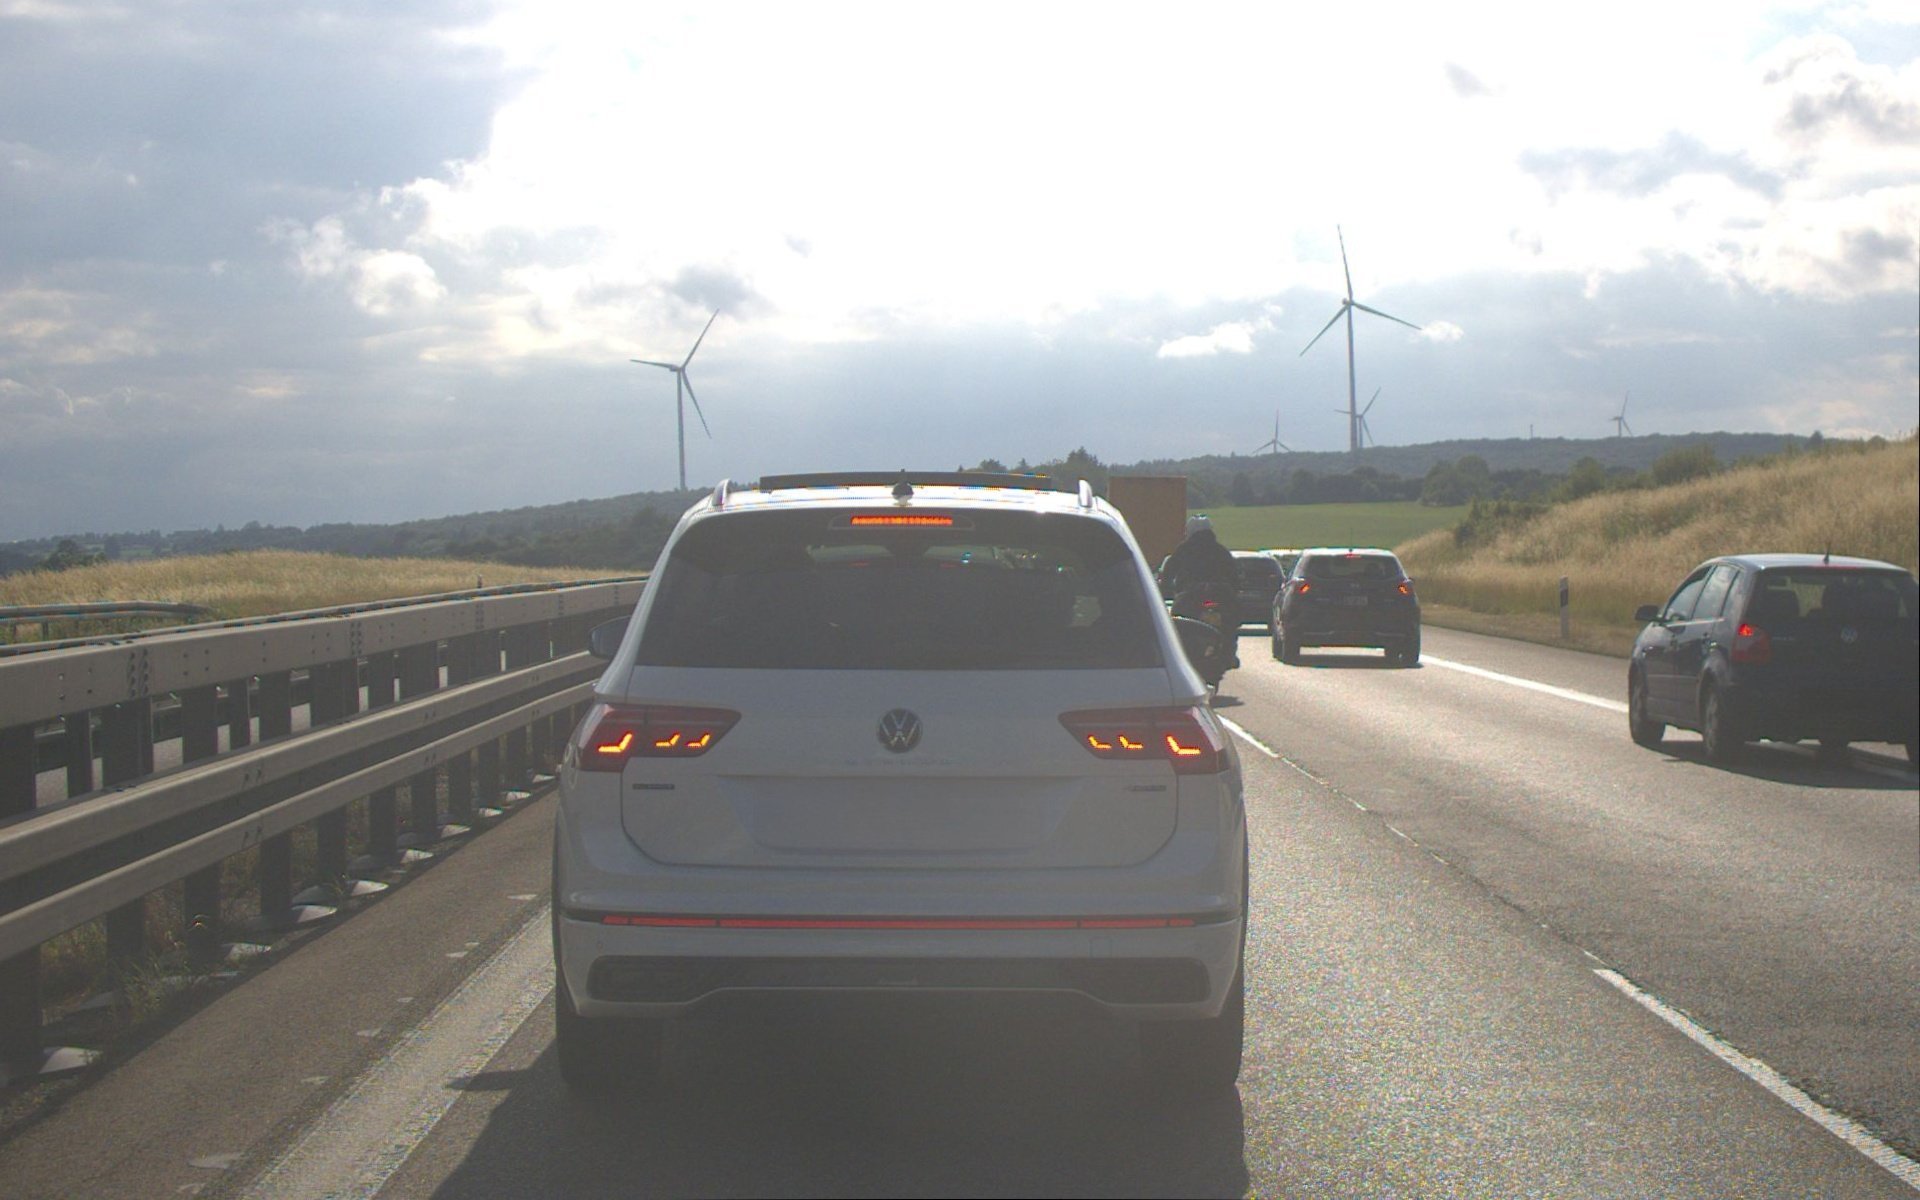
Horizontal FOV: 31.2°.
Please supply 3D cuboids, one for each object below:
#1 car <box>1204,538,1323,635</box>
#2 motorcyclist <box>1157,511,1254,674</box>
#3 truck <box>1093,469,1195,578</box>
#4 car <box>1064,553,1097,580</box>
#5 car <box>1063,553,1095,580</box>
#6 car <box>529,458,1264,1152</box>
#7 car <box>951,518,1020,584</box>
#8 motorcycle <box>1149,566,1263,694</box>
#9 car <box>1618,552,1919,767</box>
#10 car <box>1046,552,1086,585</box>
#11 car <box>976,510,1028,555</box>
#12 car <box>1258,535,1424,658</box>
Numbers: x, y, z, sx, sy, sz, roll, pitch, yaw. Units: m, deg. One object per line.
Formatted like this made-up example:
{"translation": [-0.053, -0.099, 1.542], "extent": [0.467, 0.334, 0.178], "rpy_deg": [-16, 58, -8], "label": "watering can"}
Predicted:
{"translation": [5.273, -0.250, 60.110], "extent": [1.704, 1.644, 4.000], "rpy_deg": [0, 1, 0], "label": "car"}
{"translation": [2.362, -0.077, 33.111], "extent": [0.849, 1.554, 0.934], "rpy_deg": [0, 1, -1], "label": "motorcyclist"}
{"translation": [6.254, -2.655, 118.477], "extent": [3.184, 3.581, 11.130], "rpy_deg": [0, 1, 1], "label": "truck"}
{"translation": [6.823, -1.901, 194.696], "extent": [1.704, 1.540, 4.000], "rpy_deg": [0, 1, 0], "label": "car"}
{"translation": [6.938, -1.982, 201.101], "extent": [1.704, 1.540, 4.000], "rpy_deg": [0, 1, 0], "label": "car"}
{"translation": [-0.169, 0.469, 10.281], "extent": [1.770, 1.670, 4.000], "rpy_deg": [0, 1, 0], "label": "car"}
{"translation": [0.631, -1.260, 88.224], "extent": [1.704, 1.644, 4.000], "rpy_deg": [0, 1, 0], "label": "car"}
{"translation": [2.358, 0.267, 33.200], "extent": [0.895, 1.186, 2.257], "rpy_deg": [0, 1, -1], "label": "motorcycle"}
{"translation": [5.843, 0.368, 24.488], "extent": [1.605, 1.415, 3.672], "rpy_deg": [0, 1, 0], "label": "car"}
{"translation": [5.042, -1.513, 163.896], "extent": [1.704, 1.540, 4.000], "rpy_deg": [0, 1, 0], "label": "car"}
{"translation": [1.441, -2.309, 118.153], "extent": [1.704, 1.540, 4.000], "rpy_deg": [0, 1, 0], "label": "car"}
{"translation": [4.948, -0.072, 45.096], "extent": [1.704, 1.540, 4.000], "rpy_deg": [0, 1, 0], "label": "car"}
